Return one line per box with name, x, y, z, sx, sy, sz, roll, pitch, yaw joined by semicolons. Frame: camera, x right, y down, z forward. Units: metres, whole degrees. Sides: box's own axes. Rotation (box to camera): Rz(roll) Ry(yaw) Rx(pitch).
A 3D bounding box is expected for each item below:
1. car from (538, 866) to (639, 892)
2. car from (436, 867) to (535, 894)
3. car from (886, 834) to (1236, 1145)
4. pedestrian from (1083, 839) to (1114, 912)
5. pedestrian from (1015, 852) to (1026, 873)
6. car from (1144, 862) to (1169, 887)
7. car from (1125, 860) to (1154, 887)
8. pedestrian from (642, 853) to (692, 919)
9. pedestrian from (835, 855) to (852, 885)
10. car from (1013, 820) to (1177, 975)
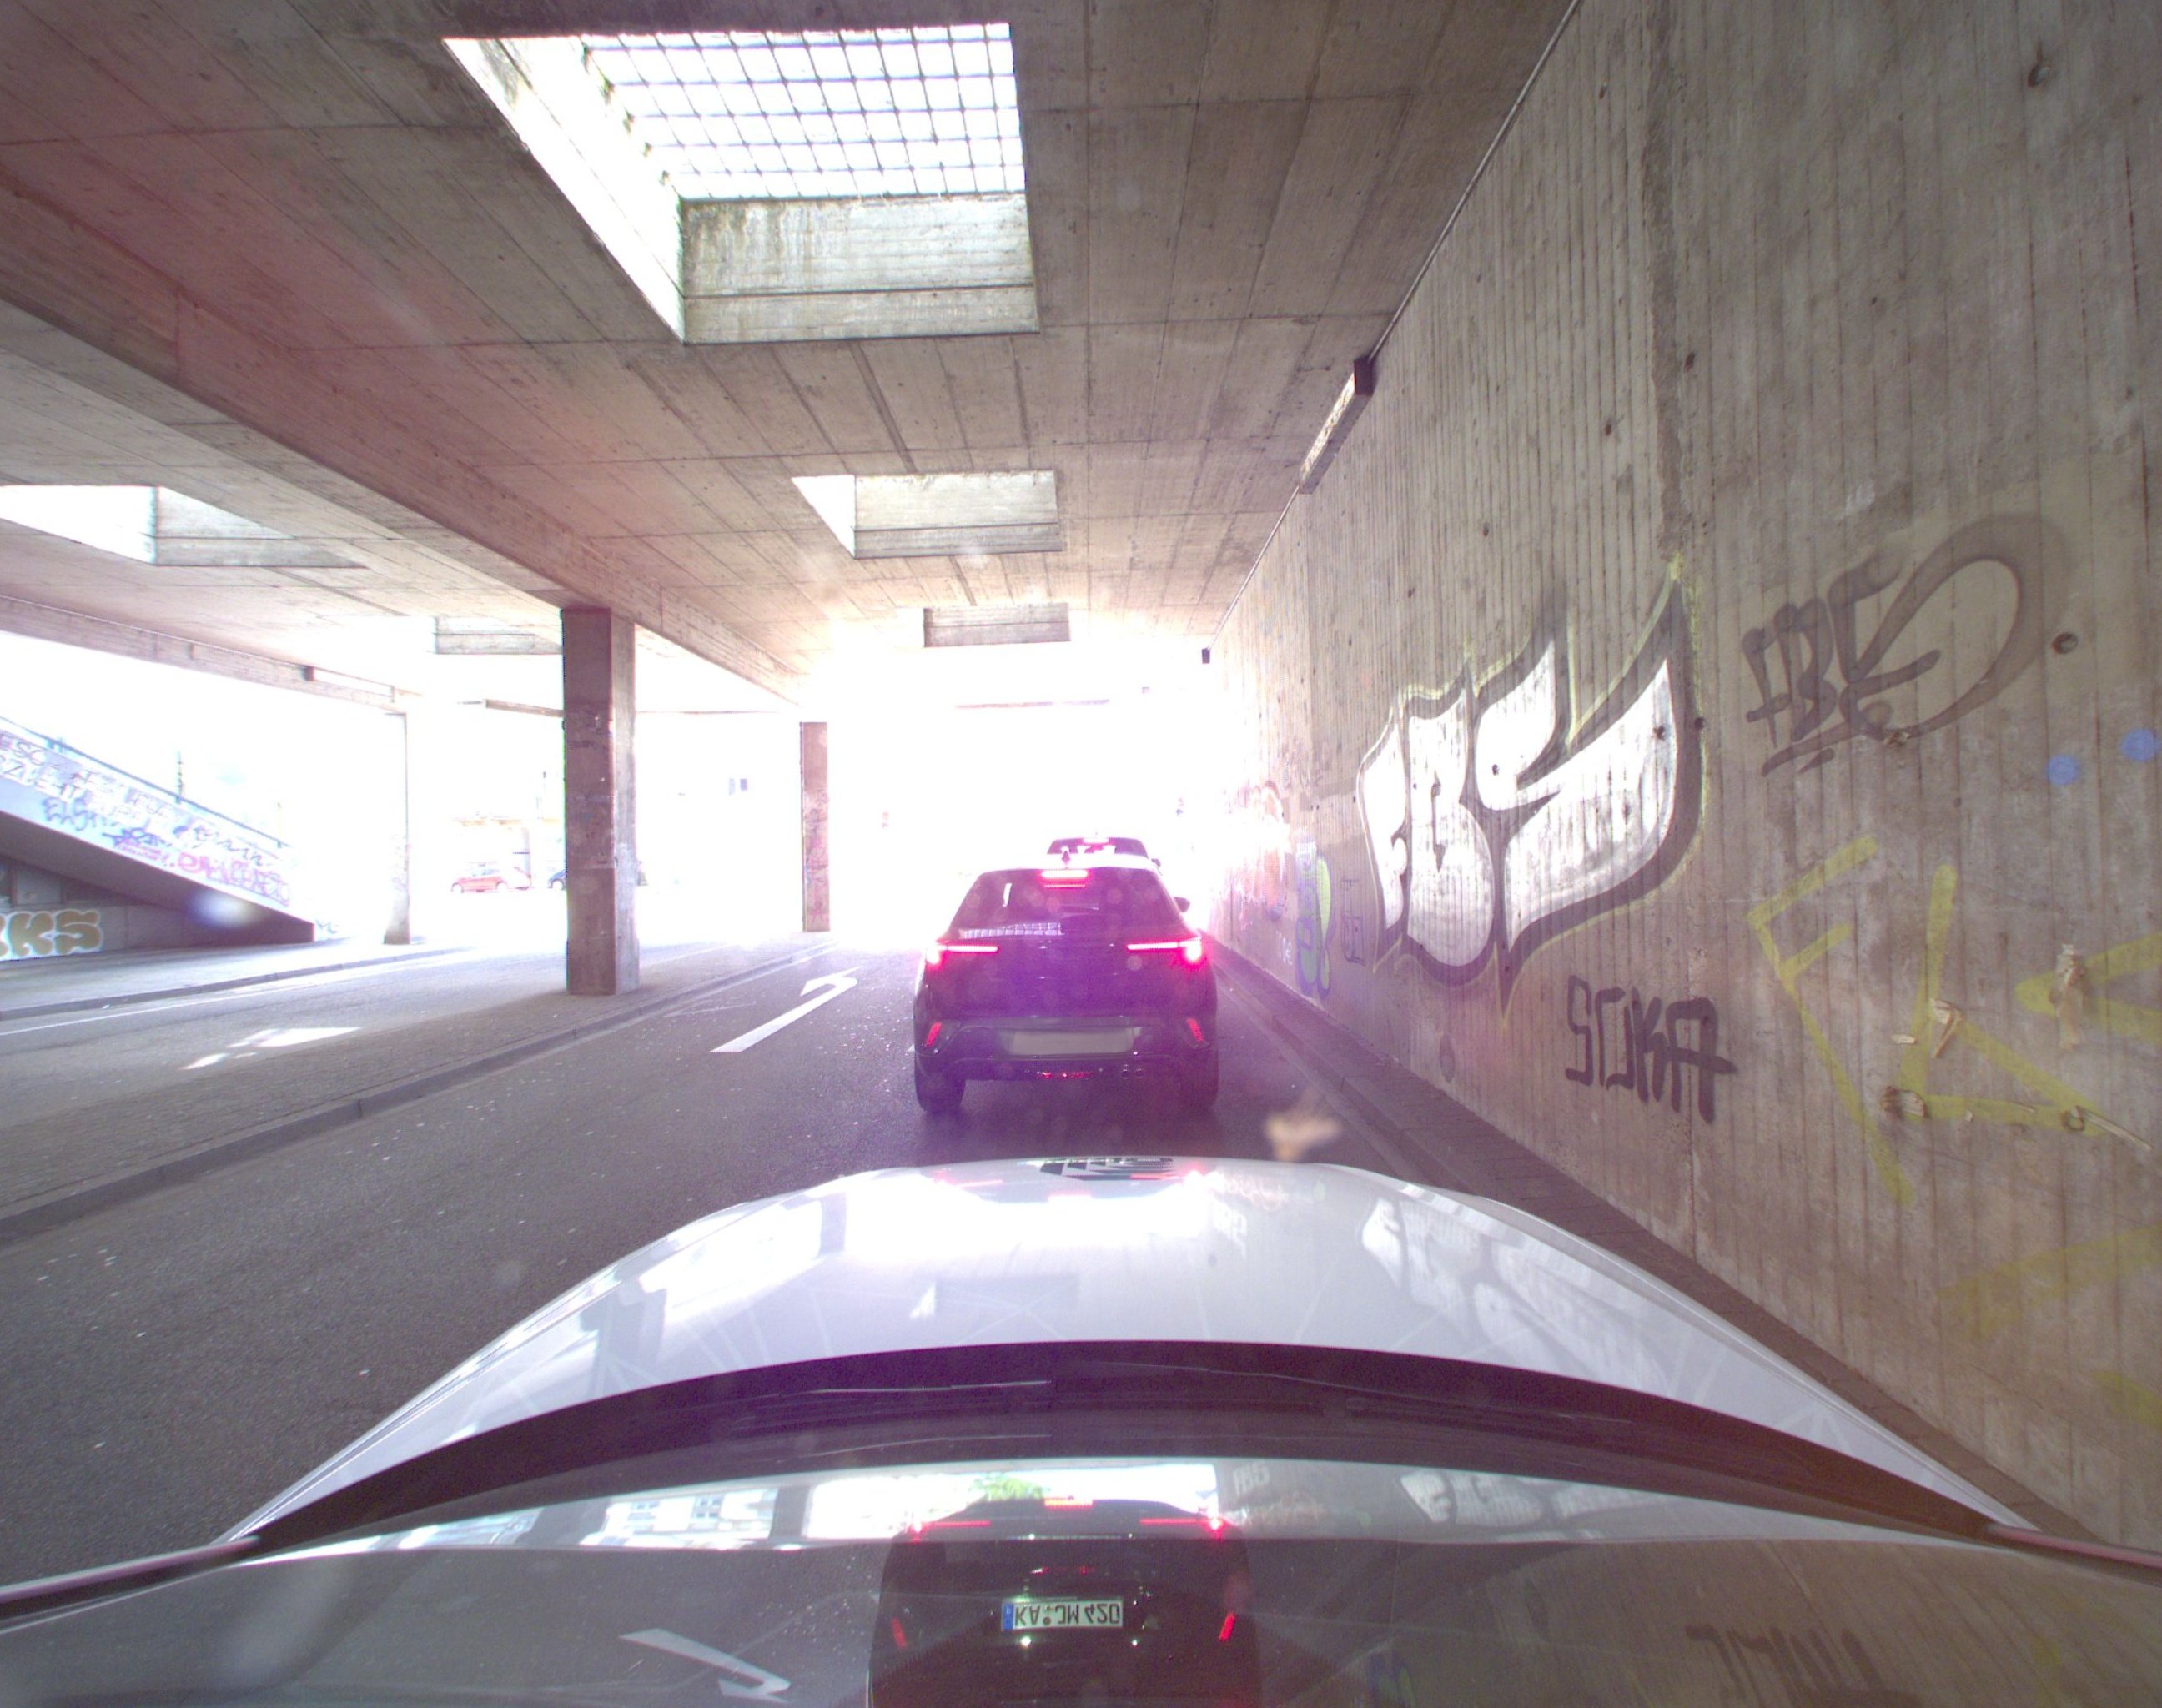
car;-27.342;1.378;45.272;4.393;1.409;1.925;0;-1;-1
car;-33.002;1.452;45.215;3.975;1.409;1.925;0;-1;-1
car;-0.039;0.652;6.119;1.758;1.571;4.002;0;1;2
pedestrian;0.427;0.516;19.946;0.728;1.734;0.874;0;-1;1
pedestrian;-6.020;0.806;80.558;0.887;2.088;0.810;-1;-1;9
car;6.366;1.680;68.376;1.983;1.970;4.172;-1;-1;7
car;4.507;1.437;62.268;1.983;1.970;4.172;-1;-1;7
pedestrian;-11.348;0.869;22.355;0.925;1.762;0.795;0;-1;3
pedestrian;-13.066;0.889;44.855;0.669;1.637;0.741;0;-1;1
car;0.236;0.541;12.104;1.986;1.871;4.002;-2;0;2
